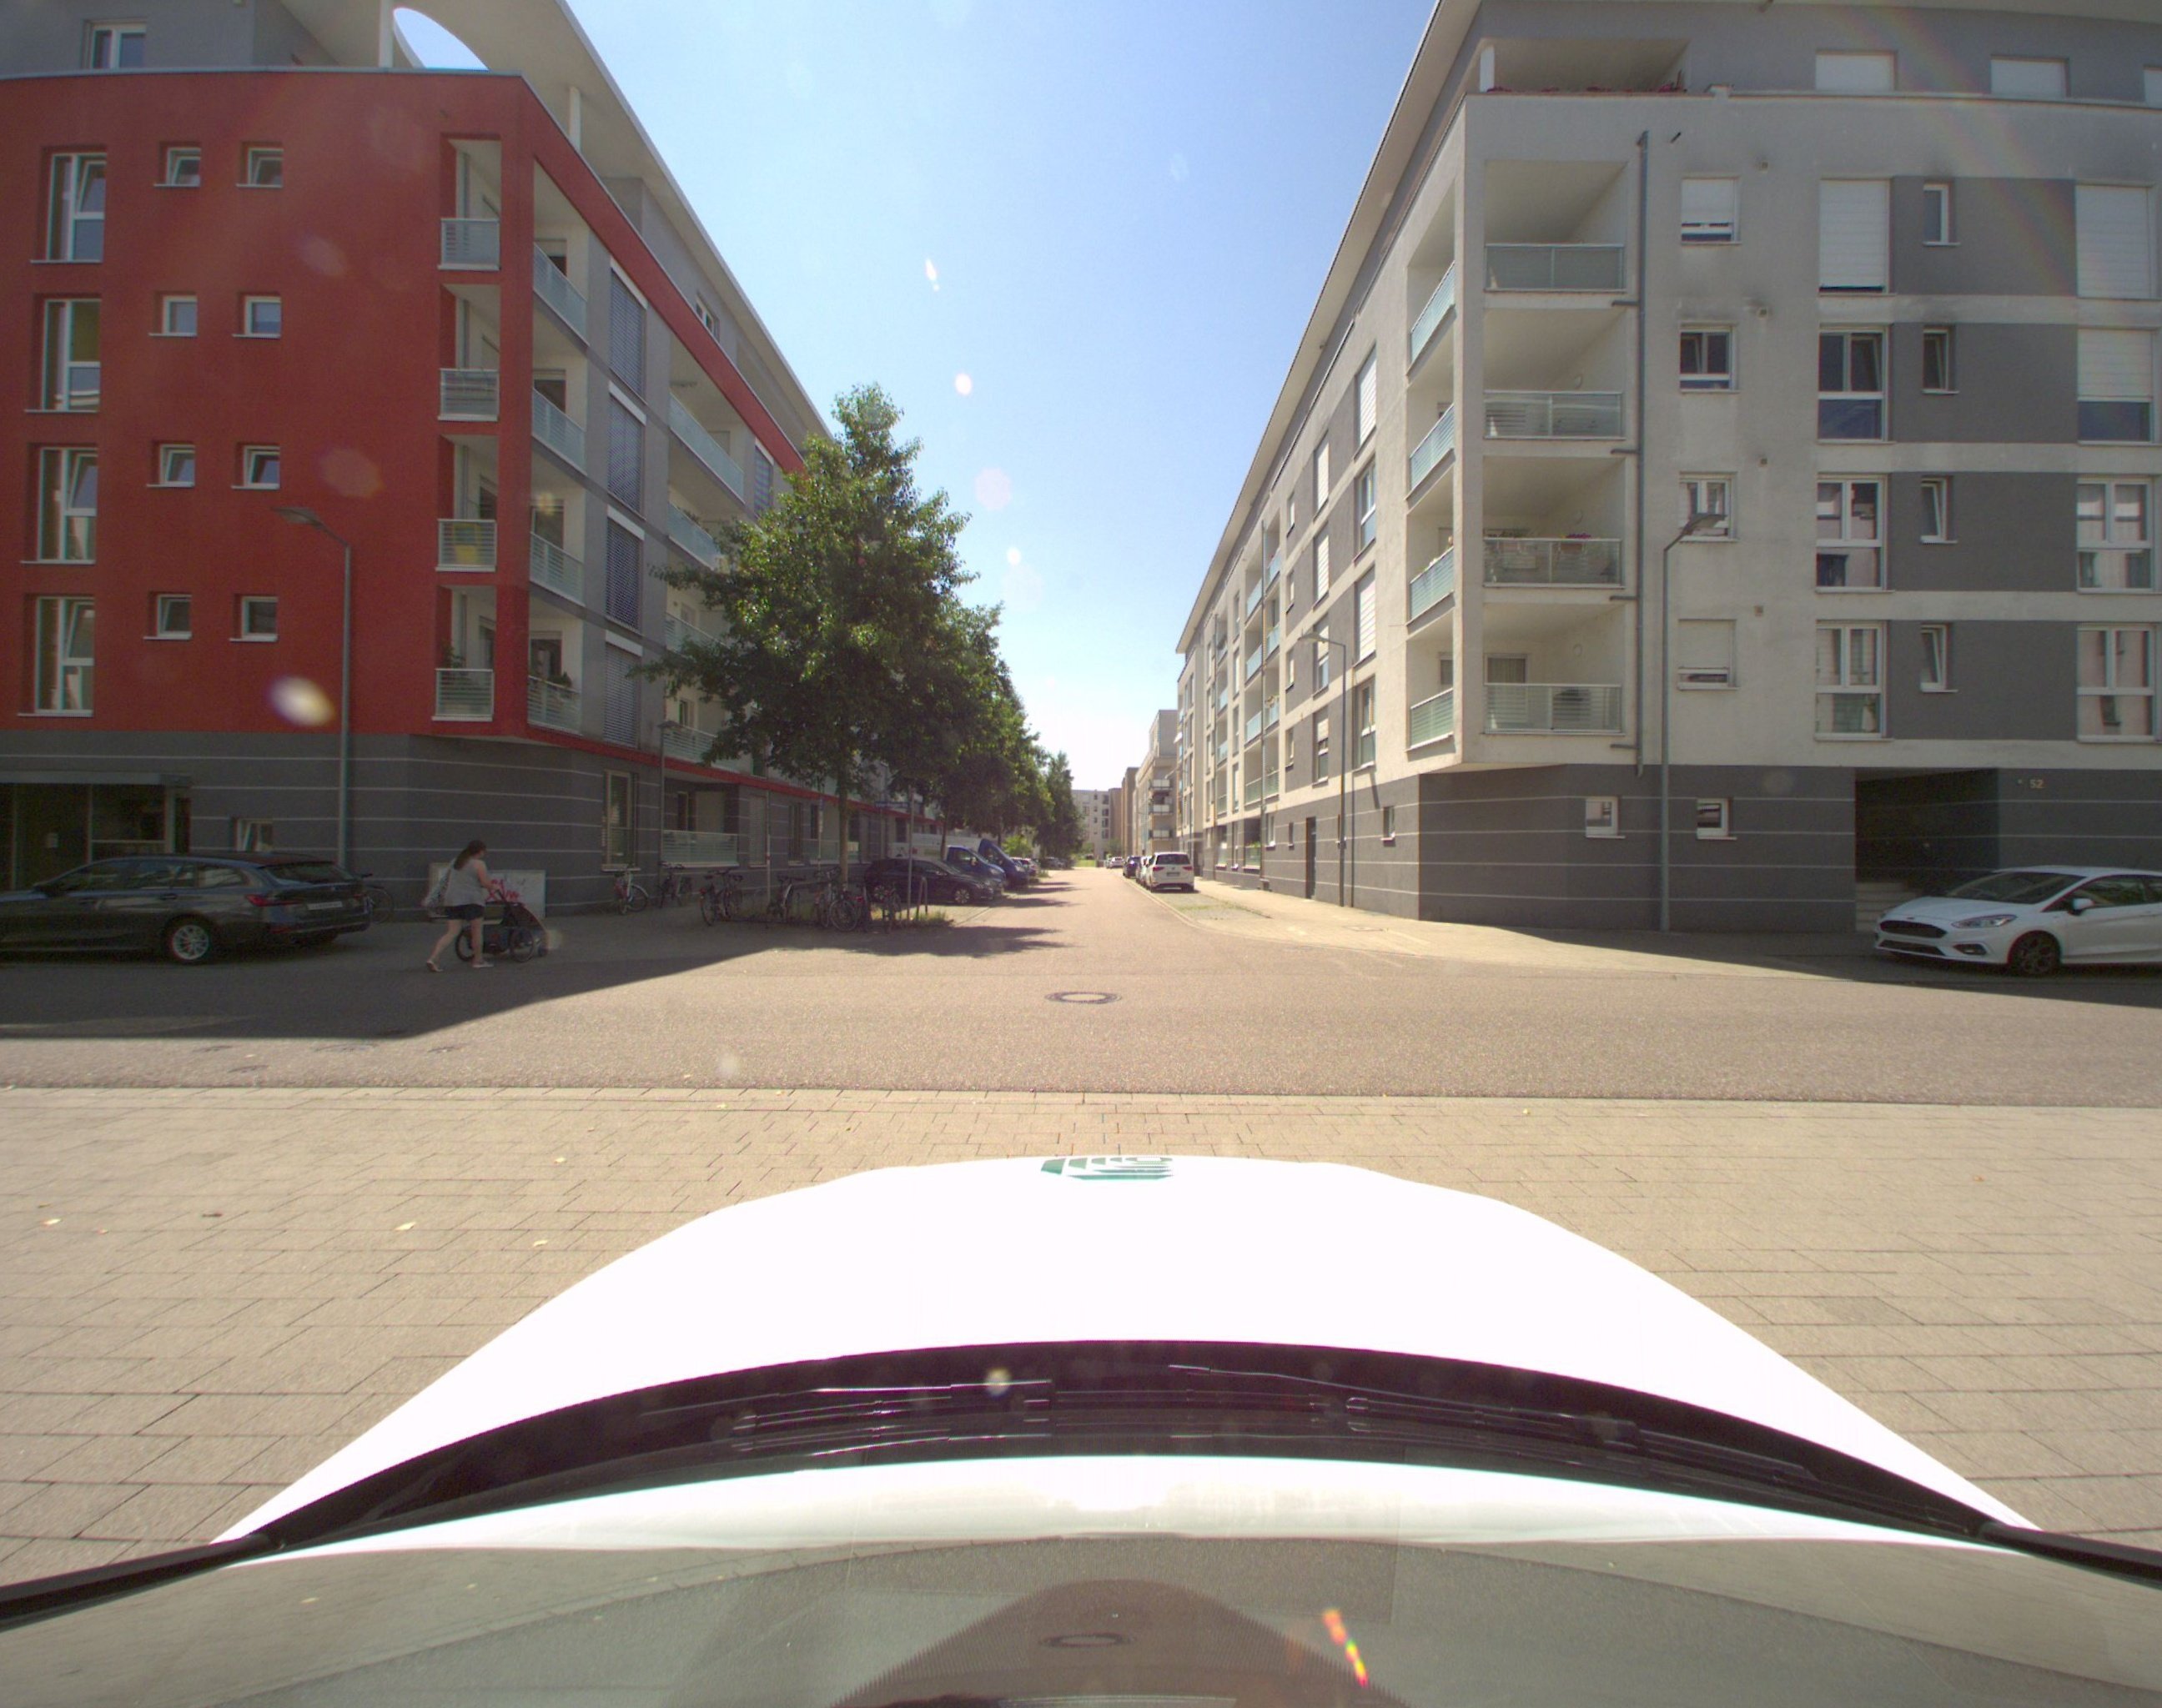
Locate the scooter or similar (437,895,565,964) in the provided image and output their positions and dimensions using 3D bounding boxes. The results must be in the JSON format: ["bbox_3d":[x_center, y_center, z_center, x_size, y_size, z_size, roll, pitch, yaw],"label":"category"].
[{"bbox_3d":[-8.192,1.046,11.556,1.064,0.888,1.019,0,0,2],"label":"scooter or similar"}]

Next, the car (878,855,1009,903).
[{"bbox_3d":[-4.919,0.876,29.538,4.368,1.542,1.878,2,0,0],"label":"car"}]

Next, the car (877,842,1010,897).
[{"bbox_3d":[-5.680,0.617,34.179,5.127,2.119,2.311,1,0,0],"label":"car"}]

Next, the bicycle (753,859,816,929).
[{"bbox_3d":[-6.130,0.798,16.922,0.591,1.331,1.813,0,1,2],"label":"bicycle"}]

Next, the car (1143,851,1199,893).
[{"bbox_3d":[3.701,0.707,34.146,1.990,1.657,4.116,0,0,1],"label":"car"}]

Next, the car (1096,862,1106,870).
[{"bbox_3d":[4.054,2.424,165.345,1.985,1.519,4.003,0,0,3],"label":"car"}]

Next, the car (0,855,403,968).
[{"bbox_3d":[-12.690,0.747,11.457,4.560,1.383,1.936,0,1,-2],"label":"car"}]

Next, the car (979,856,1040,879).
[{"bbox_3d":[-4.971,0.925,56.809,3.971,1.618,2.001,0,0,2],"label":"car"}]

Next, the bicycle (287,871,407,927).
[{"bbox_3d":[-13.401,0.818,14.888,1.836,0.987,0.301,0,-1,-3],"label":"bicycle"}]

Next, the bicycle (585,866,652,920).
[{"bbox_3d":[-10.258,0.826,18.146,0.607,1.107,2.099,0,0,-10],"label":"bicycle"}]

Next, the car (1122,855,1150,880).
[{"bbox_3d":[3.663,0.893,54.256,1.749,1.552,4.004,1,0,4],"label":"car"}]

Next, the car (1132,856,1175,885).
[{"bbox_3d":[3.903,0.865,44.674,1.987,1.524,3.999,0,0,0],"label":"car"}]

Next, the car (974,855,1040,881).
[{"bbox_3d":[-4.790,0.897,53.071,3.971,1.662,2.001,0,0,2],"label":"car"}]

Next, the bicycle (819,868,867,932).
[{"bbox_3d":[-4.903,0.919,16.870,0.432,1.204,1.700,2,1,2],"label":"bicycle"}]

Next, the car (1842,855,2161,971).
[{"bbox_3d":[13.718,0.792,11.697,3.975,1.469,1.755,0,2,-1],"label":"car"}]

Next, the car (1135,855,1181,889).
[{"bbox_3d":[3.712,0.845,39.846,1.986,1.524,4.001,0,0,1],"label":"car"}]

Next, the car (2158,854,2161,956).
[{"bbox_3d":[18.372,0.789,11.597,3.778,1.558,1.727,0,0,0],"label":"car"}]

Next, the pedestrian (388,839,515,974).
[{"bbox_3d":[-8.169,0.662,10.611,0.996,1.690,0.832,0,0,1],"label":"pedestrian"}]

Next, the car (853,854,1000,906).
[{"bbox_3d":[-5.030,0.837,26.988,4.368,1.515,2.075,2,0,0],"label":"car"}]

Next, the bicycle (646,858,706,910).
[{"bbox_3d":[-10.297,0.733,20.774,0.549,1.240,1.925,0,0,0],"label":"bicycle"}]

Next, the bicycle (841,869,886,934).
[{"bbox_3d":[-4.471,0.952,16.862,0.569,1.174,1.765,3,1,-6],"label":"bicycle"}]

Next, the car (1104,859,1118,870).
[{"bbox_3d":[4.791,1.607,130.033,1.987,1.717,3.999,0,0,0],"label":"car"}]

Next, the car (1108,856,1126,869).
[{"bbox_3d":[4.514,1.084,102.808,1.987,1.675,3.999,0,0,0],"label":"car"}]

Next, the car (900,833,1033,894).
[{"bbox_3d":[-5.467,0.434,39.611,6.003,2.816,2.605,0,0,0],"label":"car"}]

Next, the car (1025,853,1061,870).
[{"bbox_3d":[-4.563,0.891,98.449,3.965,2.014,2.004,0,0,7],"label":"car"}]

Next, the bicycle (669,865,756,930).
[{"bbox_3d":[-7.531,0.848,16.761,0.687,1.170,2.223,3,1,1],"label":"bicycle"}]

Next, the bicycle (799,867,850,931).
[{"bbox_3d":[-5.362,0.908,17.125,0.517,1.204,1.751,2,1,-1],"label":"bicycle"}]

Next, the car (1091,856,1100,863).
[{"bbox_3d":[3.256,1.210,186.234,1.987,1.519,3.999,0,0,0],"label":"car"}]

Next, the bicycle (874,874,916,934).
[{"bbox_3d":[-3.878,1.007,17.078,0.464,1.141,1.925,0,0,-1],"label":"bicycle"}]
